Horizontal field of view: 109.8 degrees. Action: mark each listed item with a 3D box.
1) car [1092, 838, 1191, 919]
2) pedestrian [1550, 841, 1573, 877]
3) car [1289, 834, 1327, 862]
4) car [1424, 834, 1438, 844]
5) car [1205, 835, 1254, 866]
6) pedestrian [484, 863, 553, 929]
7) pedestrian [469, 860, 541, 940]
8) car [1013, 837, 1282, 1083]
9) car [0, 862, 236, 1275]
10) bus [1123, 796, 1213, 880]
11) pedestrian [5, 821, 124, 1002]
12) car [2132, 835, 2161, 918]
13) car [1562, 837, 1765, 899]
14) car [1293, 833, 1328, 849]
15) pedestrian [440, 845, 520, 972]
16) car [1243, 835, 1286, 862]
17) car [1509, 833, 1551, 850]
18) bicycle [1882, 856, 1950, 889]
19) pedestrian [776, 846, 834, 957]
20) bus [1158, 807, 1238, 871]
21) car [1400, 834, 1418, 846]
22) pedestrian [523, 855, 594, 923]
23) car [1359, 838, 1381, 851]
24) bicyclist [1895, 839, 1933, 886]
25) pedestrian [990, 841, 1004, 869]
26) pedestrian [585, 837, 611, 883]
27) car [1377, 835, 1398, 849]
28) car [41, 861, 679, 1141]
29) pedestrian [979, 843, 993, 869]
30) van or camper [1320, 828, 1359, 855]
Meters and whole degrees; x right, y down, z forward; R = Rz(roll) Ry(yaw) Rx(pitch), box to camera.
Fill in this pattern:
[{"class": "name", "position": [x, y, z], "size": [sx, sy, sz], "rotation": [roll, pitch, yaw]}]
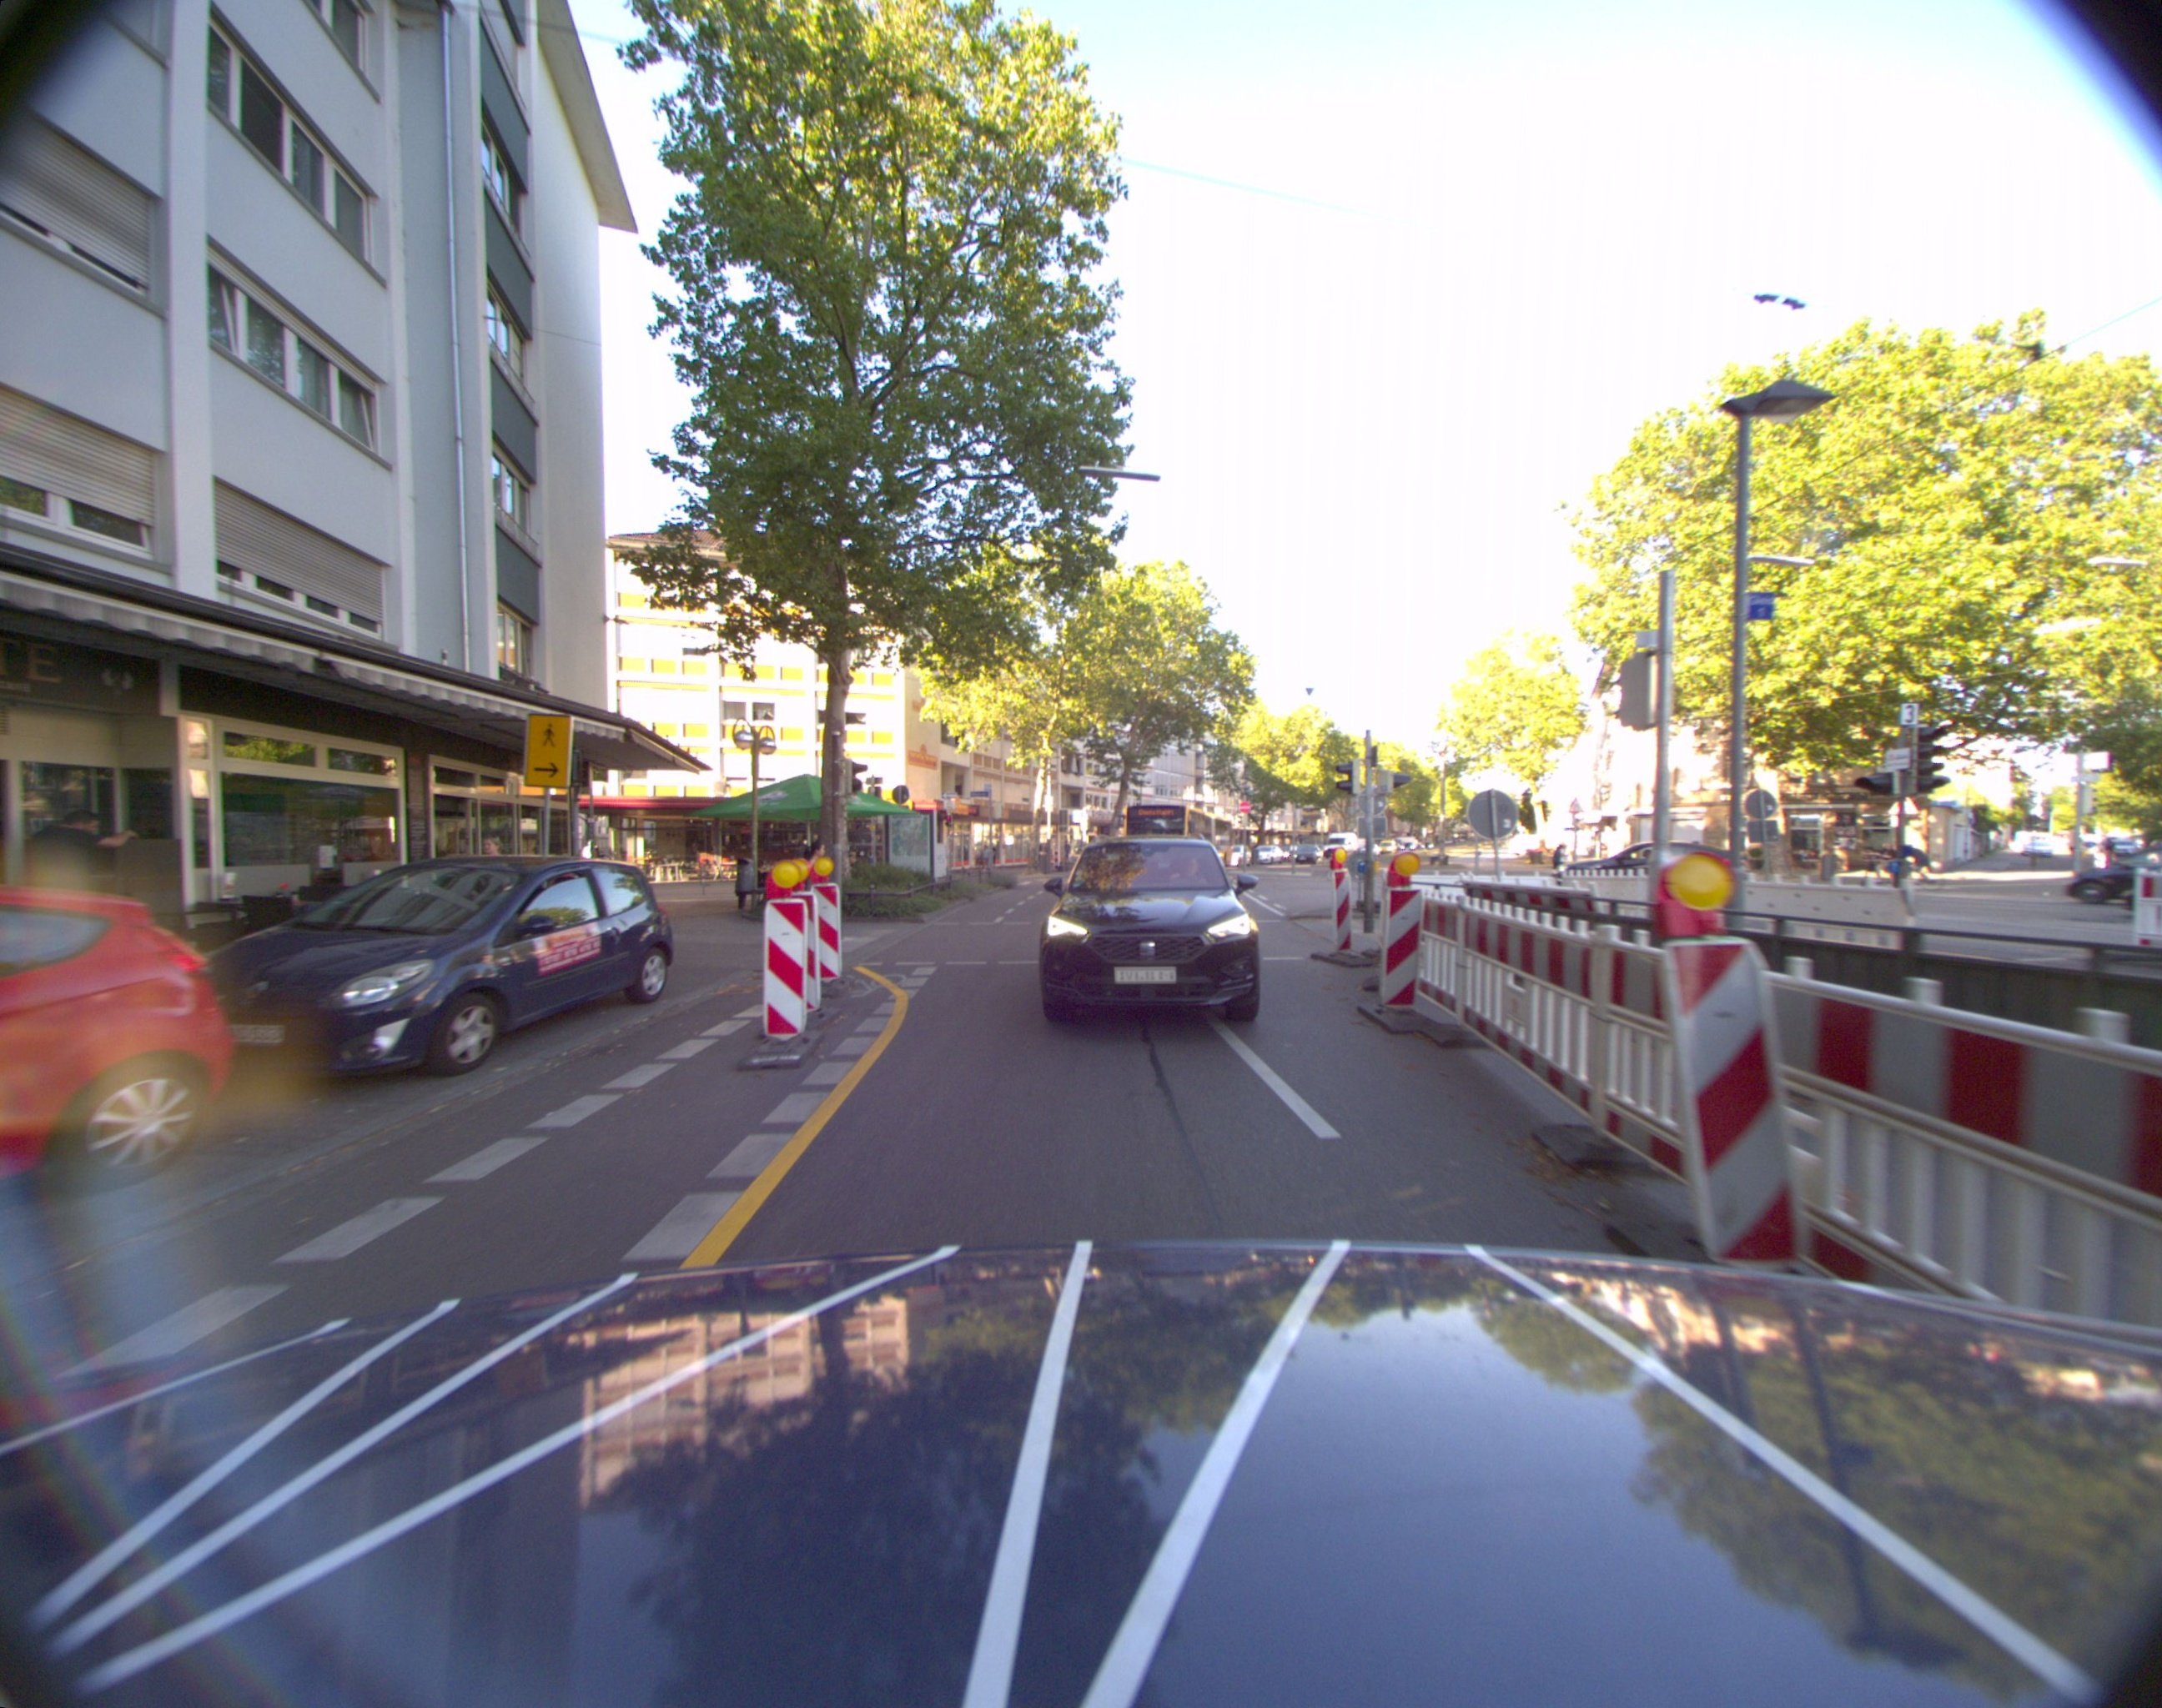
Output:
[{"class": "car", "position": [1.276, 0.464, 17.423], "size": [1.998, 1.634, 4.075], "rotation": [0, 1, 1]}, {"class": "pedestrian", "position": [20.775, 0.223, 32.857], "size": [0.603, 1.525, 0.745], "rotation": [0, 2, 13]}, {"class": "car", "position": [17.038, -0.451, 56.865], "size": [1.995, 2.002, 4.007], "rotation": [0, 1, 28]}, {"class": "car", "position": [63.117, -2.640, 136.896], "size": [1.836, 1.792, 4.138], "rotation": [1, 1, 32]}, {"class": "car", "position": [9.924, -0.270, 50.417], "size": [1.994, 2.002, 4.105], "rotation": [1, 1, 29]}, {"class": "pedestrian", "position": [-10.606, 0.781, 14.338], "size": [0.647, 1.186, 0.792], "rotation": [0, 2, 8]}, {"class": "pedestrian", "position": [-9.886, 0.764, 13.044], "size": [0.789, 1.299, 0.701], "rotation": [1, 2, 29]}, {"class": "car", "position": [0.512, 0.698, 7.231], "size": [1.841, 1.696, 3.999], "rotation": [0, 1, 1]}, {"class": "car", "position": [-5.154, 0.878, 1.940], "size": [1.786, 1.586, 3.822], "rotation": [3, 1, -2]}, {"class": "bus", "position": [3.966, -0.669, 32.678], "size": [2.718, 3.088, 8.629], "rotation": [0, 1, 14]}, {"class": "pedestrian", "position": [-10.288, 0.557, 7.709], "size": [0.396, 1.769, 0.556], "rotation": [1, 3, -1]}, {"class": "car", "position": [22.559, 0.468, 13.538], "size": [2.000, 1.652, 3.996], "rotation": [0, 1, -9]}, {"class": "car", "position": [16.984, 0.327, 22.344], "size": [4.545, 1.652, 2.004], "rotation": [1, 2, 40]}, {"class": "car", "position": [29.060, -1.698, 96.475], "size": [3.994, 2.002, 2.001], "rotation": [0, 1, 8]}, {"class": "pedestrian", "position": [-7.938, 0.694, 10.053], "size": [0.629, 1.628, 0.531], "rotation": [-1, 2, -14]}, {"class": "car", "position": [14.310, -0.463, 59.104], "size": [1.994, 2.002, 4.008], "rotation": [1, 2, 34]}, {"class": "car", "position": [53.585, -1.511, 90.620], "size": [4.001, 2.002, 1.997], "rotation": [-1, 1, -12]}, {"class": "bicycle", "position": [28.647, 0.627, 26.100], "size": [0.550, 1.059, 1.621], "rotation": [0, 1, 1]}, {"class": "pedestrian", "position": [-4.228, 0.705, 11.678], "size": [0.583, 1.637, 0.796], "rotation": [0, 2, 0]}, {"class": "bus", "position": [6.552, -0.804, 41.419], "size": [2.717, 3.088, 8.608], "rotation": [0, 1, 20]}, {"class": "car", "position": [50.424, -2.128, 116.799], "size": [1.836, 1.792, 4.138], "rotation": [1, 1, 32]}, {"class": "pedestrian", "position": [-9.641, 0.627, 14.023], "size": [0.877, 1.186, 0.701], "rotation": [0, 2, 24]}, {"class": "car", "position": [33.681, -1.129, 88.484], "size": [1.700, 1.462, 3.771], "rotation": [0, 1, 32]}, {"class": "bicyclist", "position": [28.640, 0.285, 26.124], "size": [0.551, 1.605, 0.643], "rotation": [0, 2, 1]}, {"class": "pedestrian", "position": [-4.701, 0.067, 42.624], "size": [0.627, 1.577, 0.532], "rotation": [0, 2, 21]}, {"class": "pedestrian", "position": [-20.704, 0.248, 32.579], "size": [0.887, 1.948, 0.650], "rotation": [1, 2, 37]}, {"class": "car", "position": [39.973, -1.530, 98.937], "size": [1.836, 1.792, 4.138], "rotation": [1, 1, 32]}, {"class": "car", "position": [-5.114, 0.875, 6.188], "size": [1.771, 1.459, 3.610], "rotation": [3, 1, -1]}, {"class": "pedestrian", "position": [-5.343, 0.093, 42.760], "size": [0.627, 1.429, 0.532], "rotation": [0, 2, 21]}, {"class": "van or camper", "position": [26.876, -1.308, 78.827], "size": [2.419, 2.703, 6.144], "rotation": [1, 1, 33]}]
